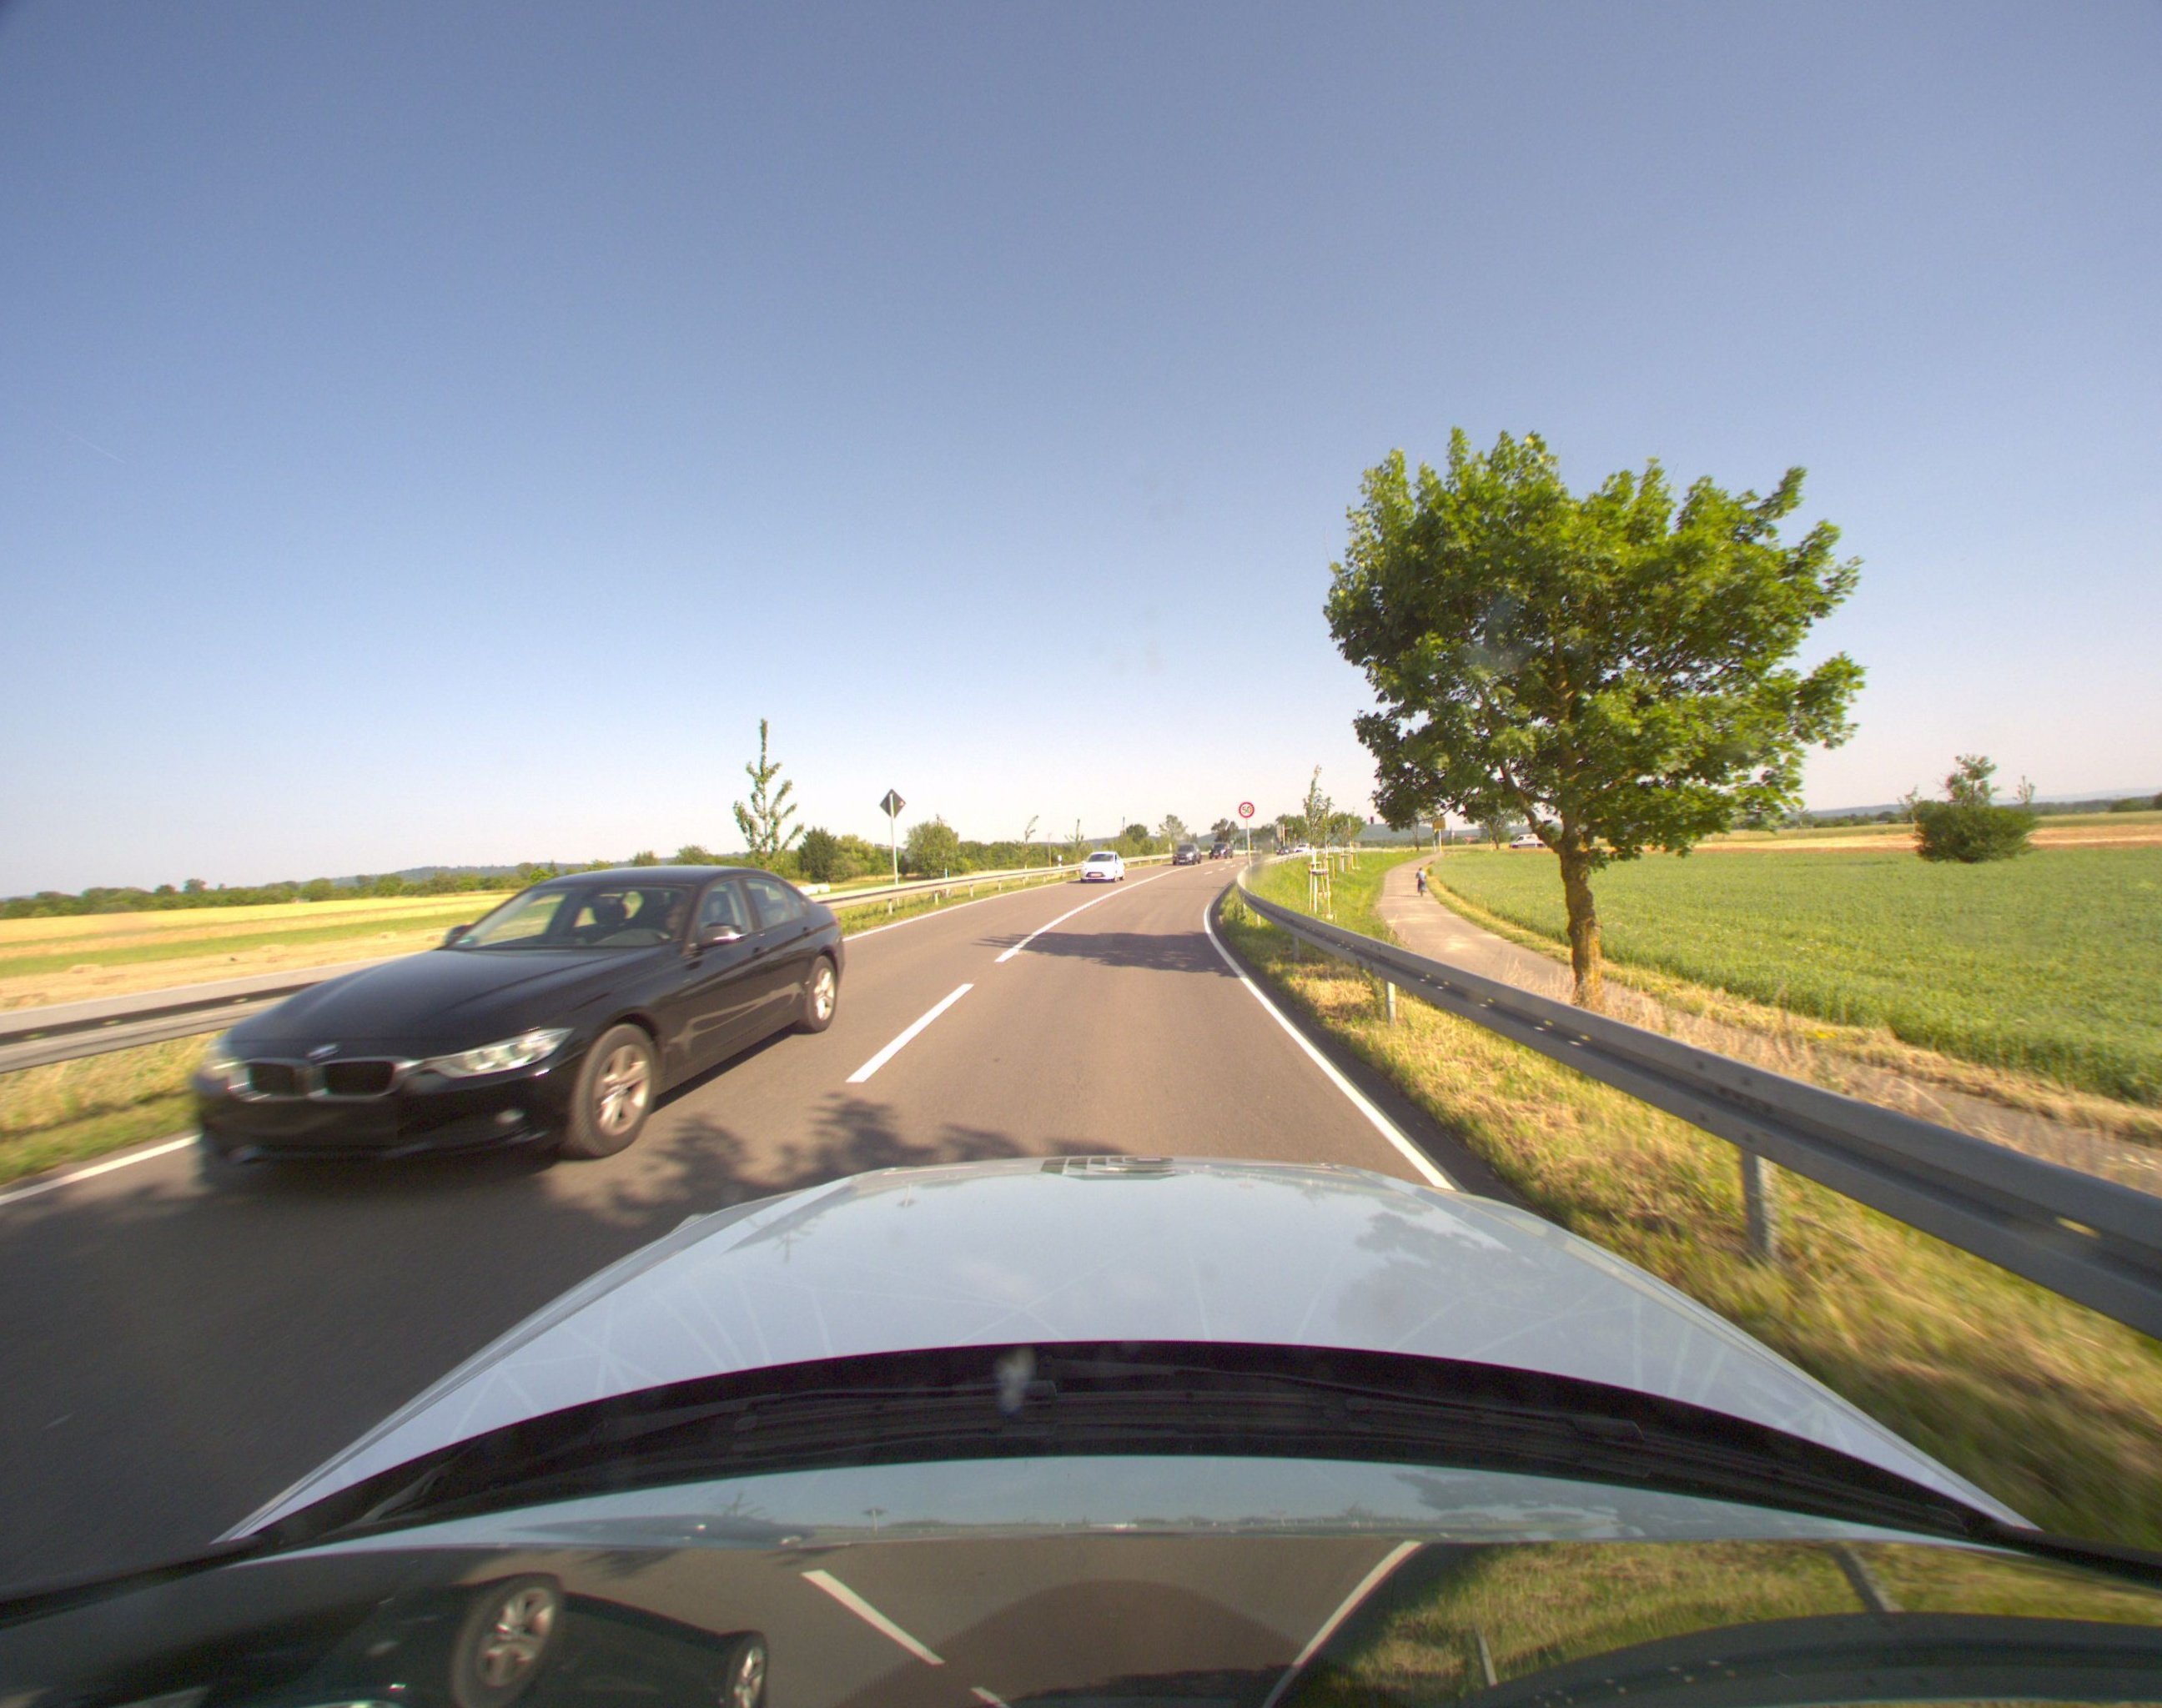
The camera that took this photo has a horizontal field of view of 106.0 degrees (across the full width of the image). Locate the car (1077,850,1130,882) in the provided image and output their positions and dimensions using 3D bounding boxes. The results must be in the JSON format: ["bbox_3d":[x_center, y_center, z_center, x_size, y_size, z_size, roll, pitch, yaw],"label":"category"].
[{"bbox_3d":[1.158,0.574,39.756,1.840,1.449,4.167,-1,0,12],"label":"car"}]

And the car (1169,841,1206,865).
[{"bbox_3d":[8.757,-0.079,66.502,1.866,1.798,5.117,-1,-2,20],"label":"car"}]

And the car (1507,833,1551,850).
[{"bbox_3d":[71.608,-1.975,130.149,5.899,2.493,2.013,-1,-1,37],"label":"car"}]

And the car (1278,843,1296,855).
[{"bbox_3d":[30.695,-0.751,121.265,1.778,1.448,4.733,-1,3,24],"label":"car"}]

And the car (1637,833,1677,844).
[{"bbox_3d":[84.955,-2.312,120.169,4.821,1.510,2.013,-1,-1,34],"label":"car"}]

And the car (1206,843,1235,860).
[{"bbox_3d":[14.769,-0.262,85.841,1.976,1.592,4.890,-1,1,22],"label":"car"}]

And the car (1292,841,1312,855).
[{"bbox_3d":[36.231,-1.020,133.222,2.095,2.013,5.185,0,3,26],"label":"car"}]

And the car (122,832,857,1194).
[{"bbox_3d":[-3.131,0.742,5.632,1.830,1.544,4.246,0,-2,2],"label":"car"}]
